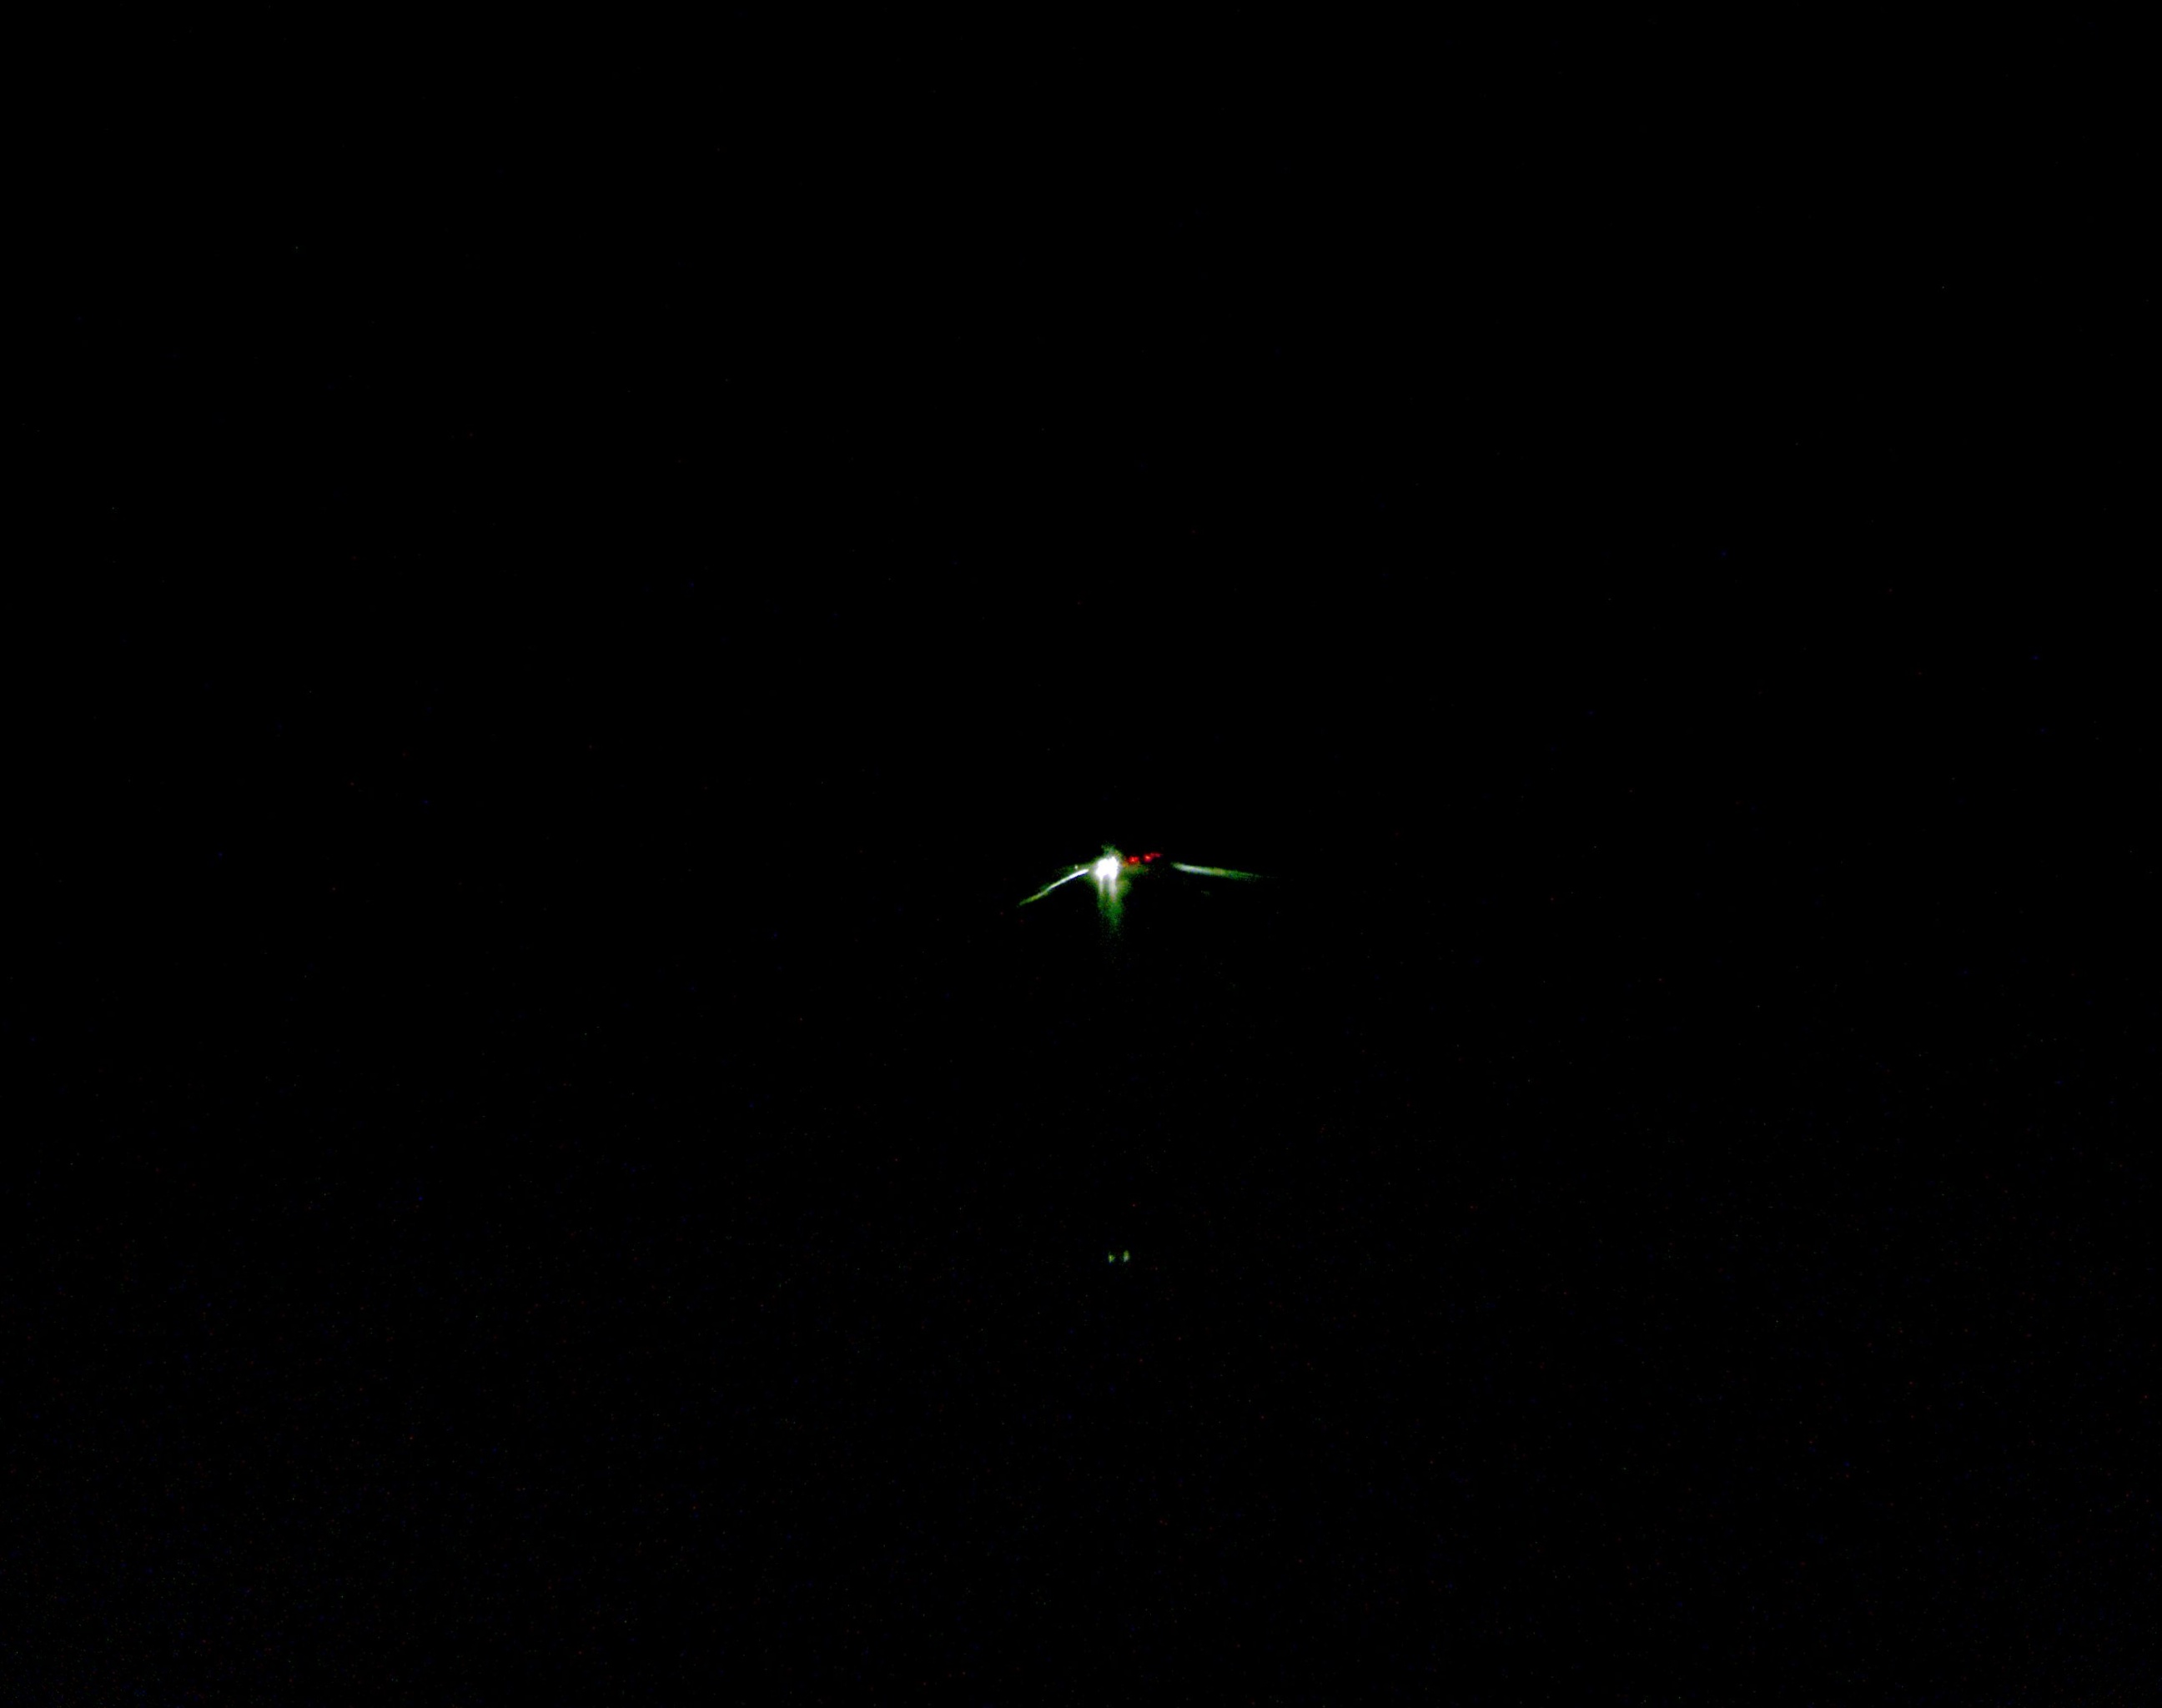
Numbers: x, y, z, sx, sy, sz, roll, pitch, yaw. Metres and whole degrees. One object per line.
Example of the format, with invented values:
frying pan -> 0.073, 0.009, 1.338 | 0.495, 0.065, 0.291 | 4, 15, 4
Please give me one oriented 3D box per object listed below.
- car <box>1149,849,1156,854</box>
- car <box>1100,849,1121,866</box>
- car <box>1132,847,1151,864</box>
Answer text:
car -> 21.691, -0.715, 230.620 | 1.821, 1.546, 3.872 | 0, 1, 4
car -> 3.291, 0.370, 84.372 | 1.997, 1.724, 4.002 | -1, 0, 6
car -> 7.085, 0.125, 88.787 | 1.998, 1.812, 4.000 | -2, 1, 2
